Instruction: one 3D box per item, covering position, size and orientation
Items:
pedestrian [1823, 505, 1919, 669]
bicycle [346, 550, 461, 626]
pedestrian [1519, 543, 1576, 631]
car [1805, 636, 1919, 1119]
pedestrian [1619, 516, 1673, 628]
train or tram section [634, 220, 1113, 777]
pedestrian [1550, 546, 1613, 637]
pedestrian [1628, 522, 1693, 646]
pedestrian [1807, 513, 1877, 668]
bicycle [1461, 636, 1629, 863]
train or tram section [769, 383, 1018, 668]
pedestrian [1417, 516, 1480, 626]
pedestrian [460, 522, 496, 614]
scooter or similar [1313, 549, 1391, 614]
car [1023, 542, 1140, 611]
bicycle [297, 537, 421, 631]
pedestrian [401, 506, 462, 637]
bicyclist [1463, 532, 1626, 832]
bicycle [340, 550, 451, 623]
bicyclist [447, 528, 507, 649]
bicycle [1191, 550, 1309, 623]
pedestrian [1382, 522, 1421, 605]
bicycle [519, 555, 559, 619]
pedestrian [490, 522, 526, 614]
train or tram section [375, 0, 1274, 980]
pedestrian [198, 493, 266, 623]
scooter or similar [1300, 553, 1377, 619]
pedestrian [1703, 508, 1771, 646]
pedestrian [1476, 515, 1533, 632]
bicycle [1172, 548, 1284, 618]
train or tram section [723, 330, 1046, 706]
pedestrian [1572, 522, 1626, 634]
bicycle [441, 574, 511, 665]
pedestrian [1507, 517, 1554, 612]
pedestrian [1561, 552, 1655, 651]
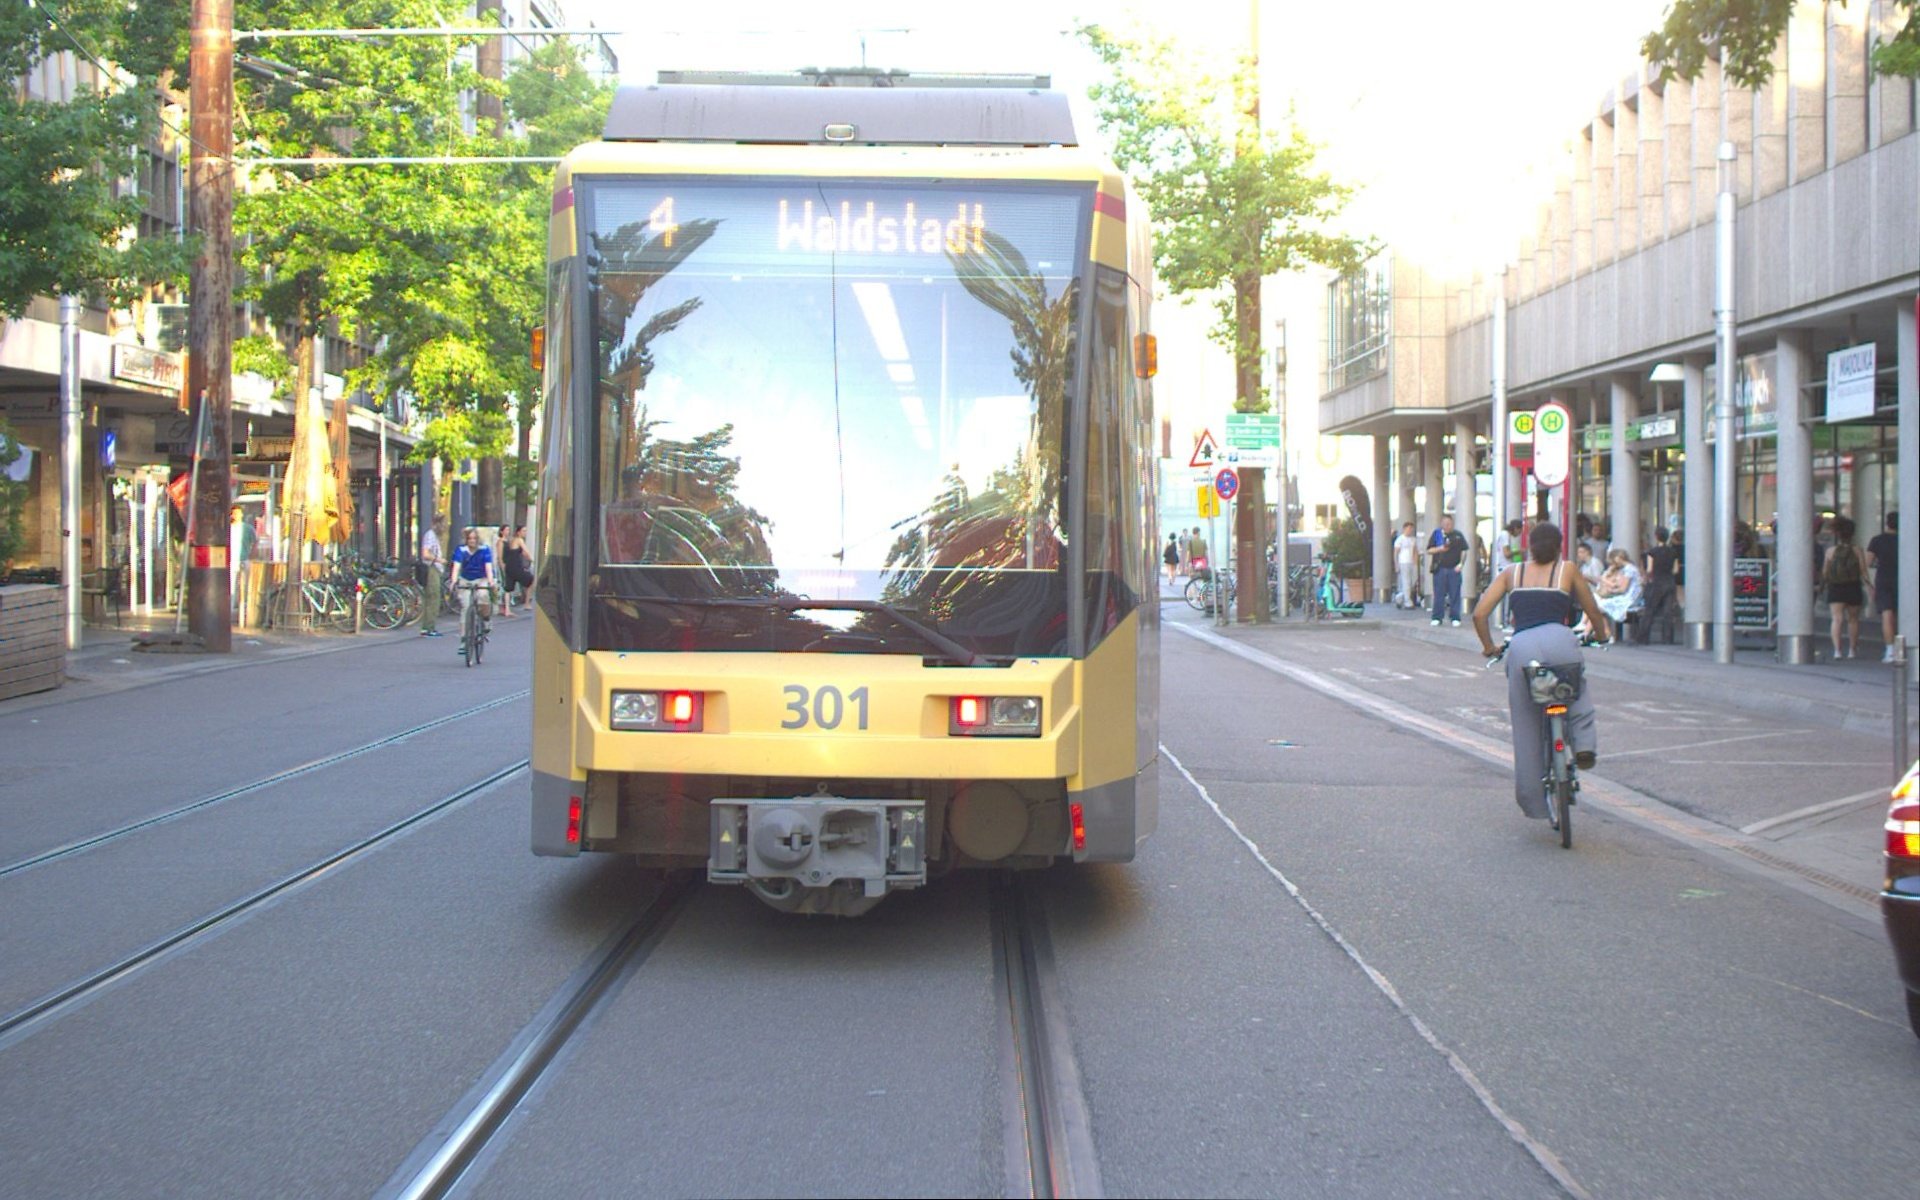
[{"bbox_3d":[10.804,-0.163,40.405,1.053,1.870,0.929,-2,2,0],"label":"pedestrian"},{"bbox_3d":[-8.915,-0.198,55.099,1.733,1.122,0.613,3,0,-6],"label":"bicycle"},{"bbox_3d":[9.095,-0.205,53.222,0.739,1.323,0.720,-2,2,1],"label":"pedestrian"},{"bbox_3d":[4.359,0.777,11.493,1.804,1.344,4.439,1,2,30],"label":"car"},{"bbox_3d":[11.493,-0.480,57.630,0.701,1.833,0.829,-2,2,0],"label":"pedestrian"},{"bbox_3d":[-0.621,-0.724,27.175,3.007,3.511,10.403,1,1,-1],"label":"train or tram section"},{"bbox_3d":[9.295,-0.134,51.414,0.806,1.323,0.626,-2,2,1],"label":"pedestrian"},{"bbox_3d":[9.413,-0.219,46.215,0.701,1.632,0.646,-2,2,0],"label":"pedestrian"},{"bbox_3d":[10.670,-0.119,41.615,0.596,1.833,0.829,-2,2,0],"label":"pedestrian"},{"bbox_3d":[3.079,0.760,18.255,0.656,1.057,2.057,2,1,4],"label":"bicycle"},{"bbox_3d":[-0.908,-1.019,48.509,3.044,3.511,10.531,1,1,-1],"label":"train or tram section"},{"bbox_3d":[7.981,-0.471,56.188,0.888,1.776,0.751,1,0,-2],"label":"pedestrian"},{"bbox_3d":[-9.064,-0.600,64.641,0.573,1.681,0.553,3,0,-10],"label":"pedestrian"},{"bbox_3d":[7.477,-0.354,65.565,1.379,1.206,0.516,-1,0,-13],"label":"scooter or similar"},{"bbox_3d":[2.928,-0.555,82.041,1.644,1.588,3.915,1,0,20],"label":"car"},{"bbox_3d":[-9.326,-0.253,53.342,1.796,1.355,0.660,3,0,-12],"label":"bicycle"},{"bbox_3d":[-7.757,-0.419,50.468,0.750,1.873,0.576,3,0,-4],"label":"pedestrian"},{"bbox_3d":[3.074,0.423,18.130,0.726,1.521,0.733,2,0,4],"label":"bicyclist"},{"bbox_3d":[-9.436,-0.219,57.530,1.733,1.122,0.563,3,0,-3],"label":"bicycle"},{"bbox_3d":[-5.743,-0.139,40.873,0.620,1.411,0.700,1,0,-3],"label":"bicyclist"},{"bbox_3d":[5.980,-0.285,71.009,2.328,1.466,0.791,1,0,-3],"label":"bicycle"},{"bbox_3d":[9.146,-0.767,71.245,0.701,1.678,0.680,-2,2,0],"label":"pedestrian"},{"bbox_3d":[-7.776,-0.246,63.558,0.611,1.122,2.252,3,0,-5],"label":"bicycle"},{"bbox_3d":[-8.407,-0.591,63.985,0.551,1.681,0.576,3,0,-4],"label":"pedestrian"},{"bbox_3d":[-0.524,-0.540,16.800,3.016,3.511,10.371,0,1,-1],"label":"train or tram section"},{"bbox_3d":[-11.426,-0.655,53.962,0.849,2.007,0.921,1,0,0],"label":"pedestrian"},{"bbox_3d":[7.311,-0.275,66.457,1.379,1.246,0.556,-1,0,-7],"label":"scooter or similar"},{"bbox_3d":[10.557,-0.318,46.726,0.701,1.833,0.829,-2,2,0],"label":"pedestrian"},{"bbox_3d":[8.391,-0.401,52.980,0.749,1.776,0.891,1,0,3],"label":"pedestrian"},{"bbox_3d":[5.843,-0.370,75.101,2.328,1.466,0.791,1,0,-3],"label":"bicycle"},{"bbox_3d":[-0.781,-0.856,37.813,3.003,3.511,10.846,1,1,-1],"label":"train or tram section"},{"bbox_3d":[10.639,-0.374,57.243,0.701,1.833,0.829,-2,2,0],"label":"pedestrian"},{"bbox_3d":[-5.744,0.223,40.820,0.641,1.019,1.589,2,1,-2],"label":"bicycle"},{"bbox_3d":[10.356,-0.646,62.439,0.701,1.678,0.680,-2,2,0],"label":"pedestrian"},{"bbox_3d":[8.979,0.012,47.649,1.112,1.323,0.926,-2,1,1],"label":"pedestrian"}]
